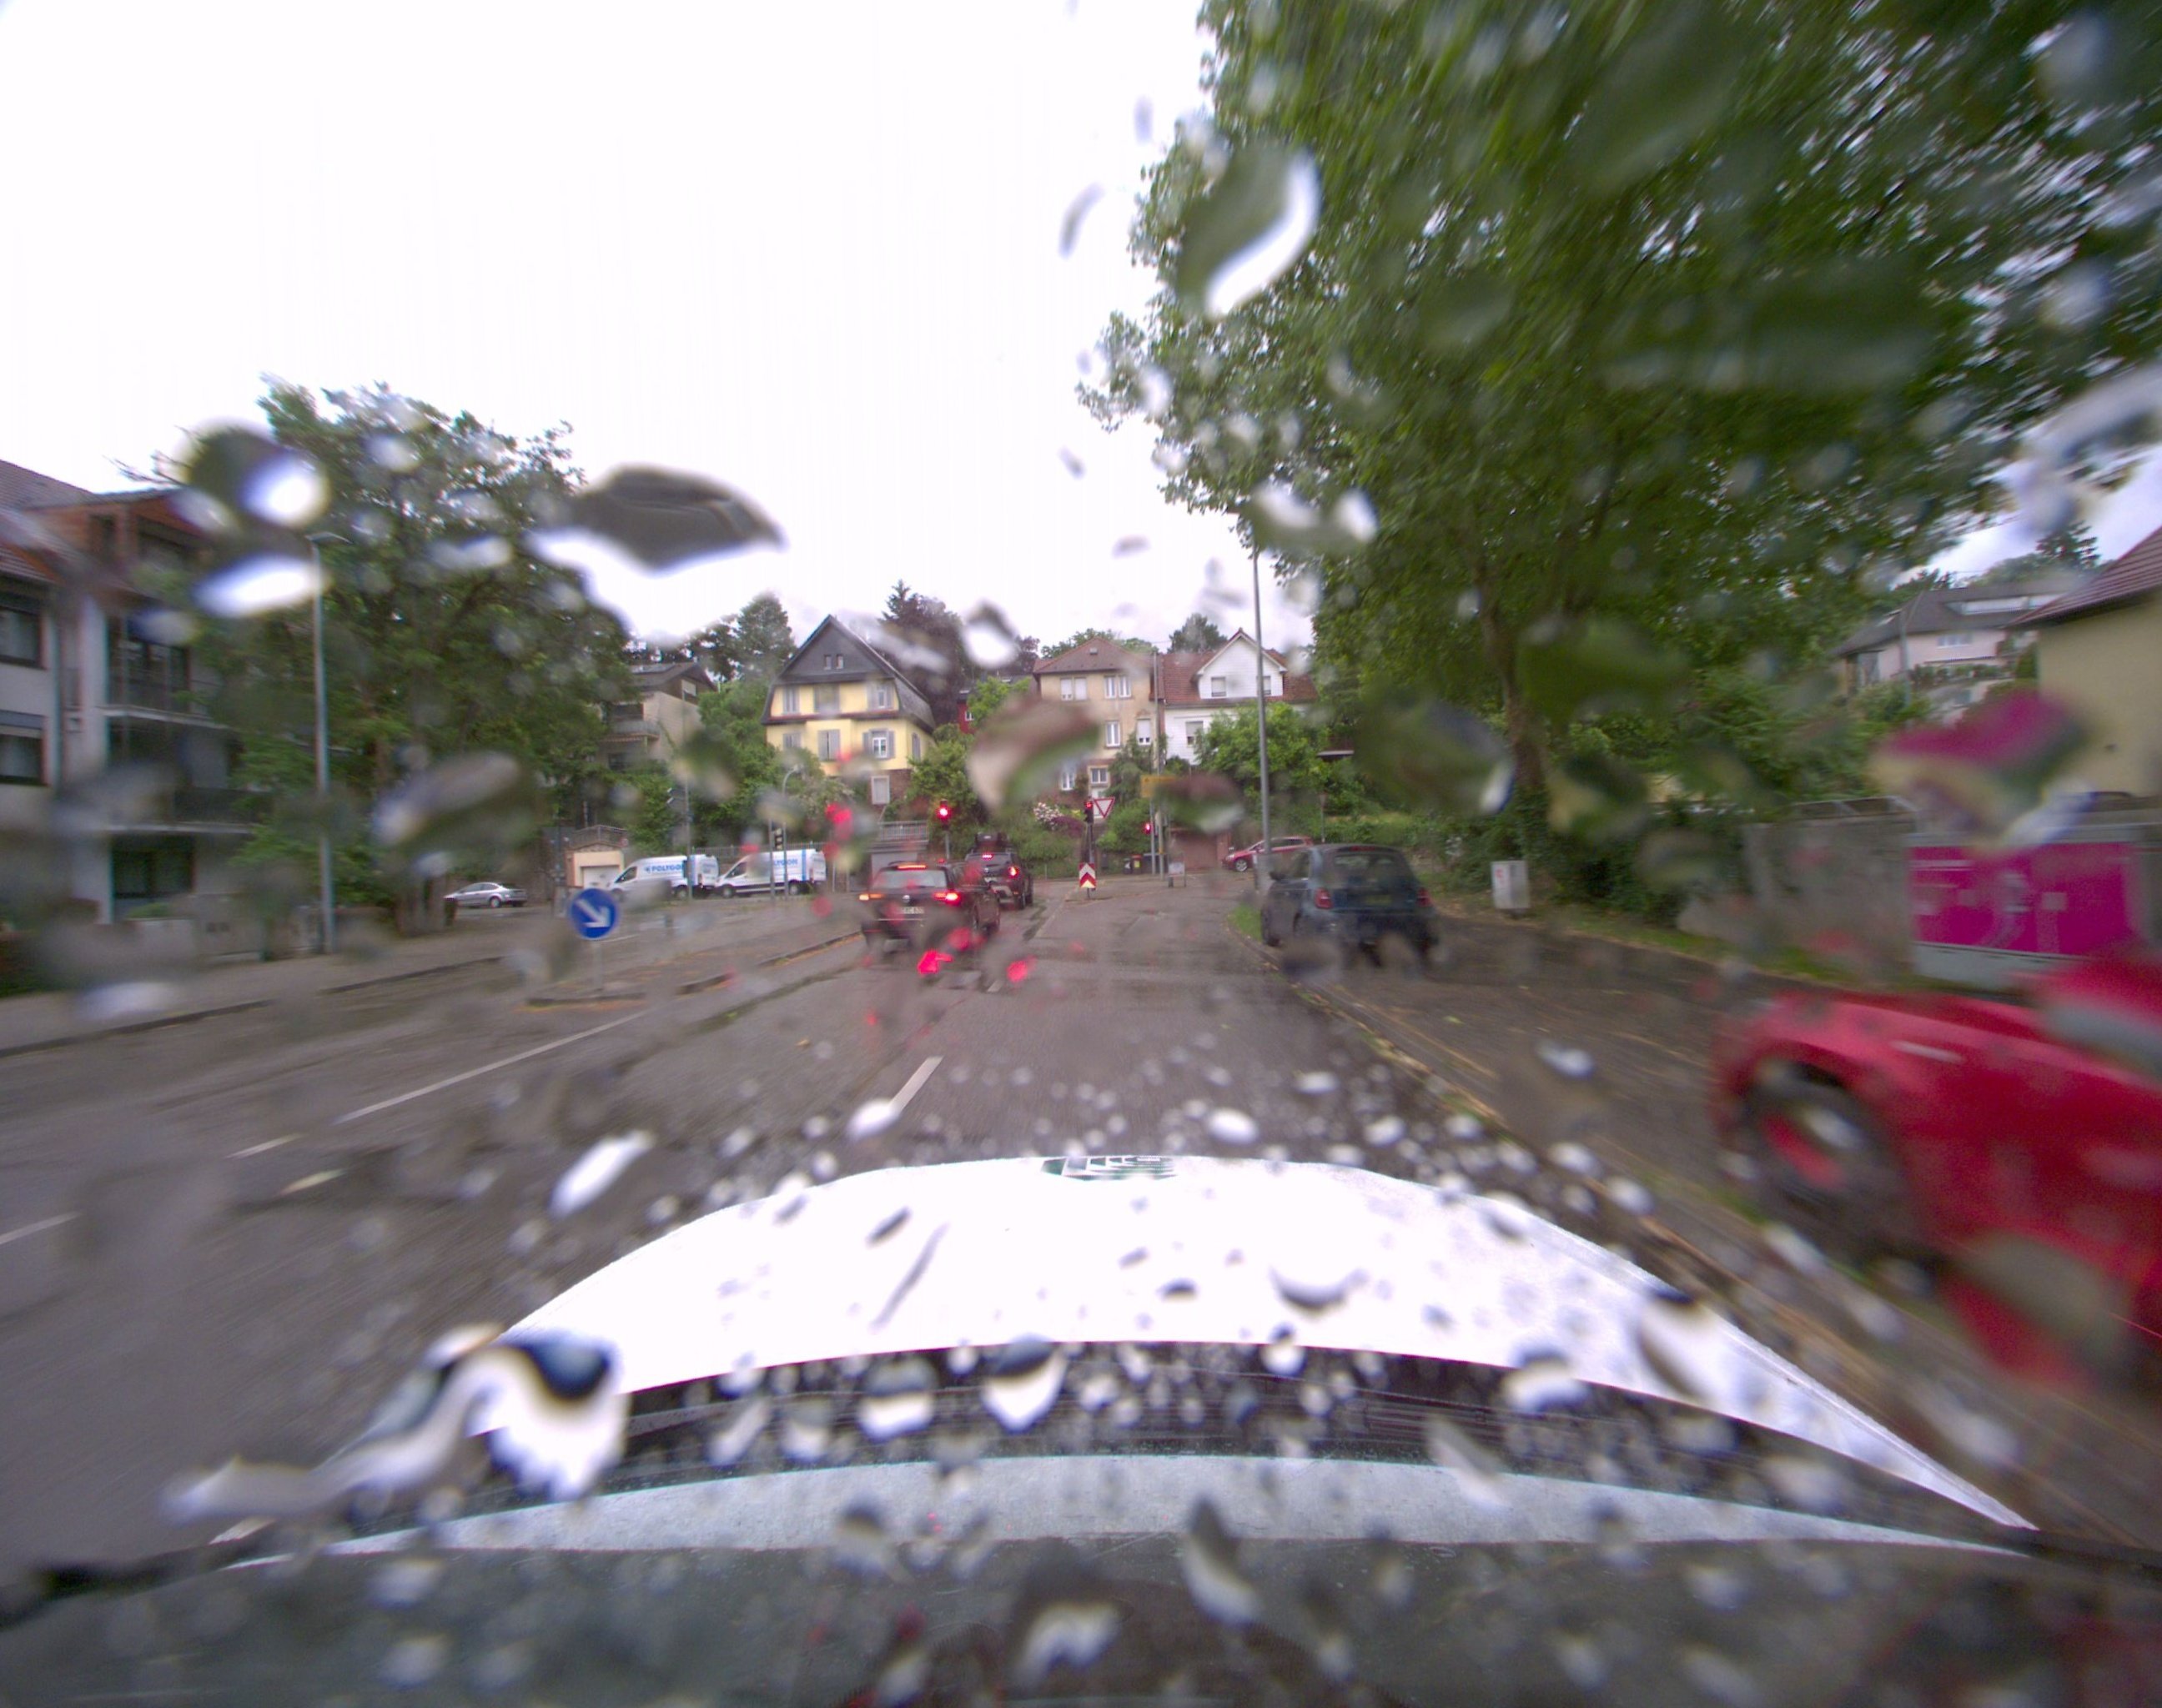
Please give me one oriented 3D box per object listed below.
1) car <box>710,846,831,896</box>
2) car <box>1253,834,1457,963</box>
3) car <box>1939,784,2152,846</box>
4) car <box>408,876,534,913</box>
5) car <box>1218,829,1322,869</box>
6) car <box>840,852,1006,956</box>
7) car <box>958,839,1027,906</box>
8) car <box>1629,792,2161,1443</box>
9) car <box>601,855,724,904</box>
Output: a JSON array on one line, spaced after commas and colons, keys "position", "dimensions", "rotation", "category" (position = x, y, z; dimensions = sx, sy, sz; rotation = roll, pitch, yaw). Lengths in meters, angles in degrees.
[{"position": [-16.914, 0.914, 44.574], "dimensions": [5.636, 2.494, 2.318], "rotation": [-2, -1, 3], "category": "car"}, {"position": [3.572, 0.519, 11.289], "dimensions": [1.742, 1.491, 3.602], "rotation": [0, 0, 2], "category": "car"}, {"position": [25.127, -0.952, 21.414], "dimensions": [1.533, 1.299, 3.457], "rotation": [-4, -1, 3], "category": "car"}, {"position": [-34.079, 2.254, 45.601], "dimensions": [5.538, 1.854, 2.112], "rotation": [-2, -1, 3], "category": "car"}, {"position": [9.034, -0.208, 39.205], "dimensions": [4.548, 1.601, 1.776], "rotation": [-4, -1, 3], "category": "car"}, {"position": [-2.557, 0.731, 14.387], "dimensions": [1.824, 1.456, 4.662], "rotation": [0, 1, 2], "category": "car"}, {"position": [-2.478, 0.456, 23.592], "dimensions": [1.757, 1.711, 4.594], "rotation": [-1, 1, -4], "category": "car"}, {"position": [3.465, 0.680, 1.853], "dimensions": [1.814, 1.517, 3.743], "rotation": [4, 2, 0], "category": "car"}, {"position": [-23.057, 1.400, 45.019], "dimensions": [5.538, 2.494, 2.318], "rotation": [-2, -1, 3], "category": "car"}]
